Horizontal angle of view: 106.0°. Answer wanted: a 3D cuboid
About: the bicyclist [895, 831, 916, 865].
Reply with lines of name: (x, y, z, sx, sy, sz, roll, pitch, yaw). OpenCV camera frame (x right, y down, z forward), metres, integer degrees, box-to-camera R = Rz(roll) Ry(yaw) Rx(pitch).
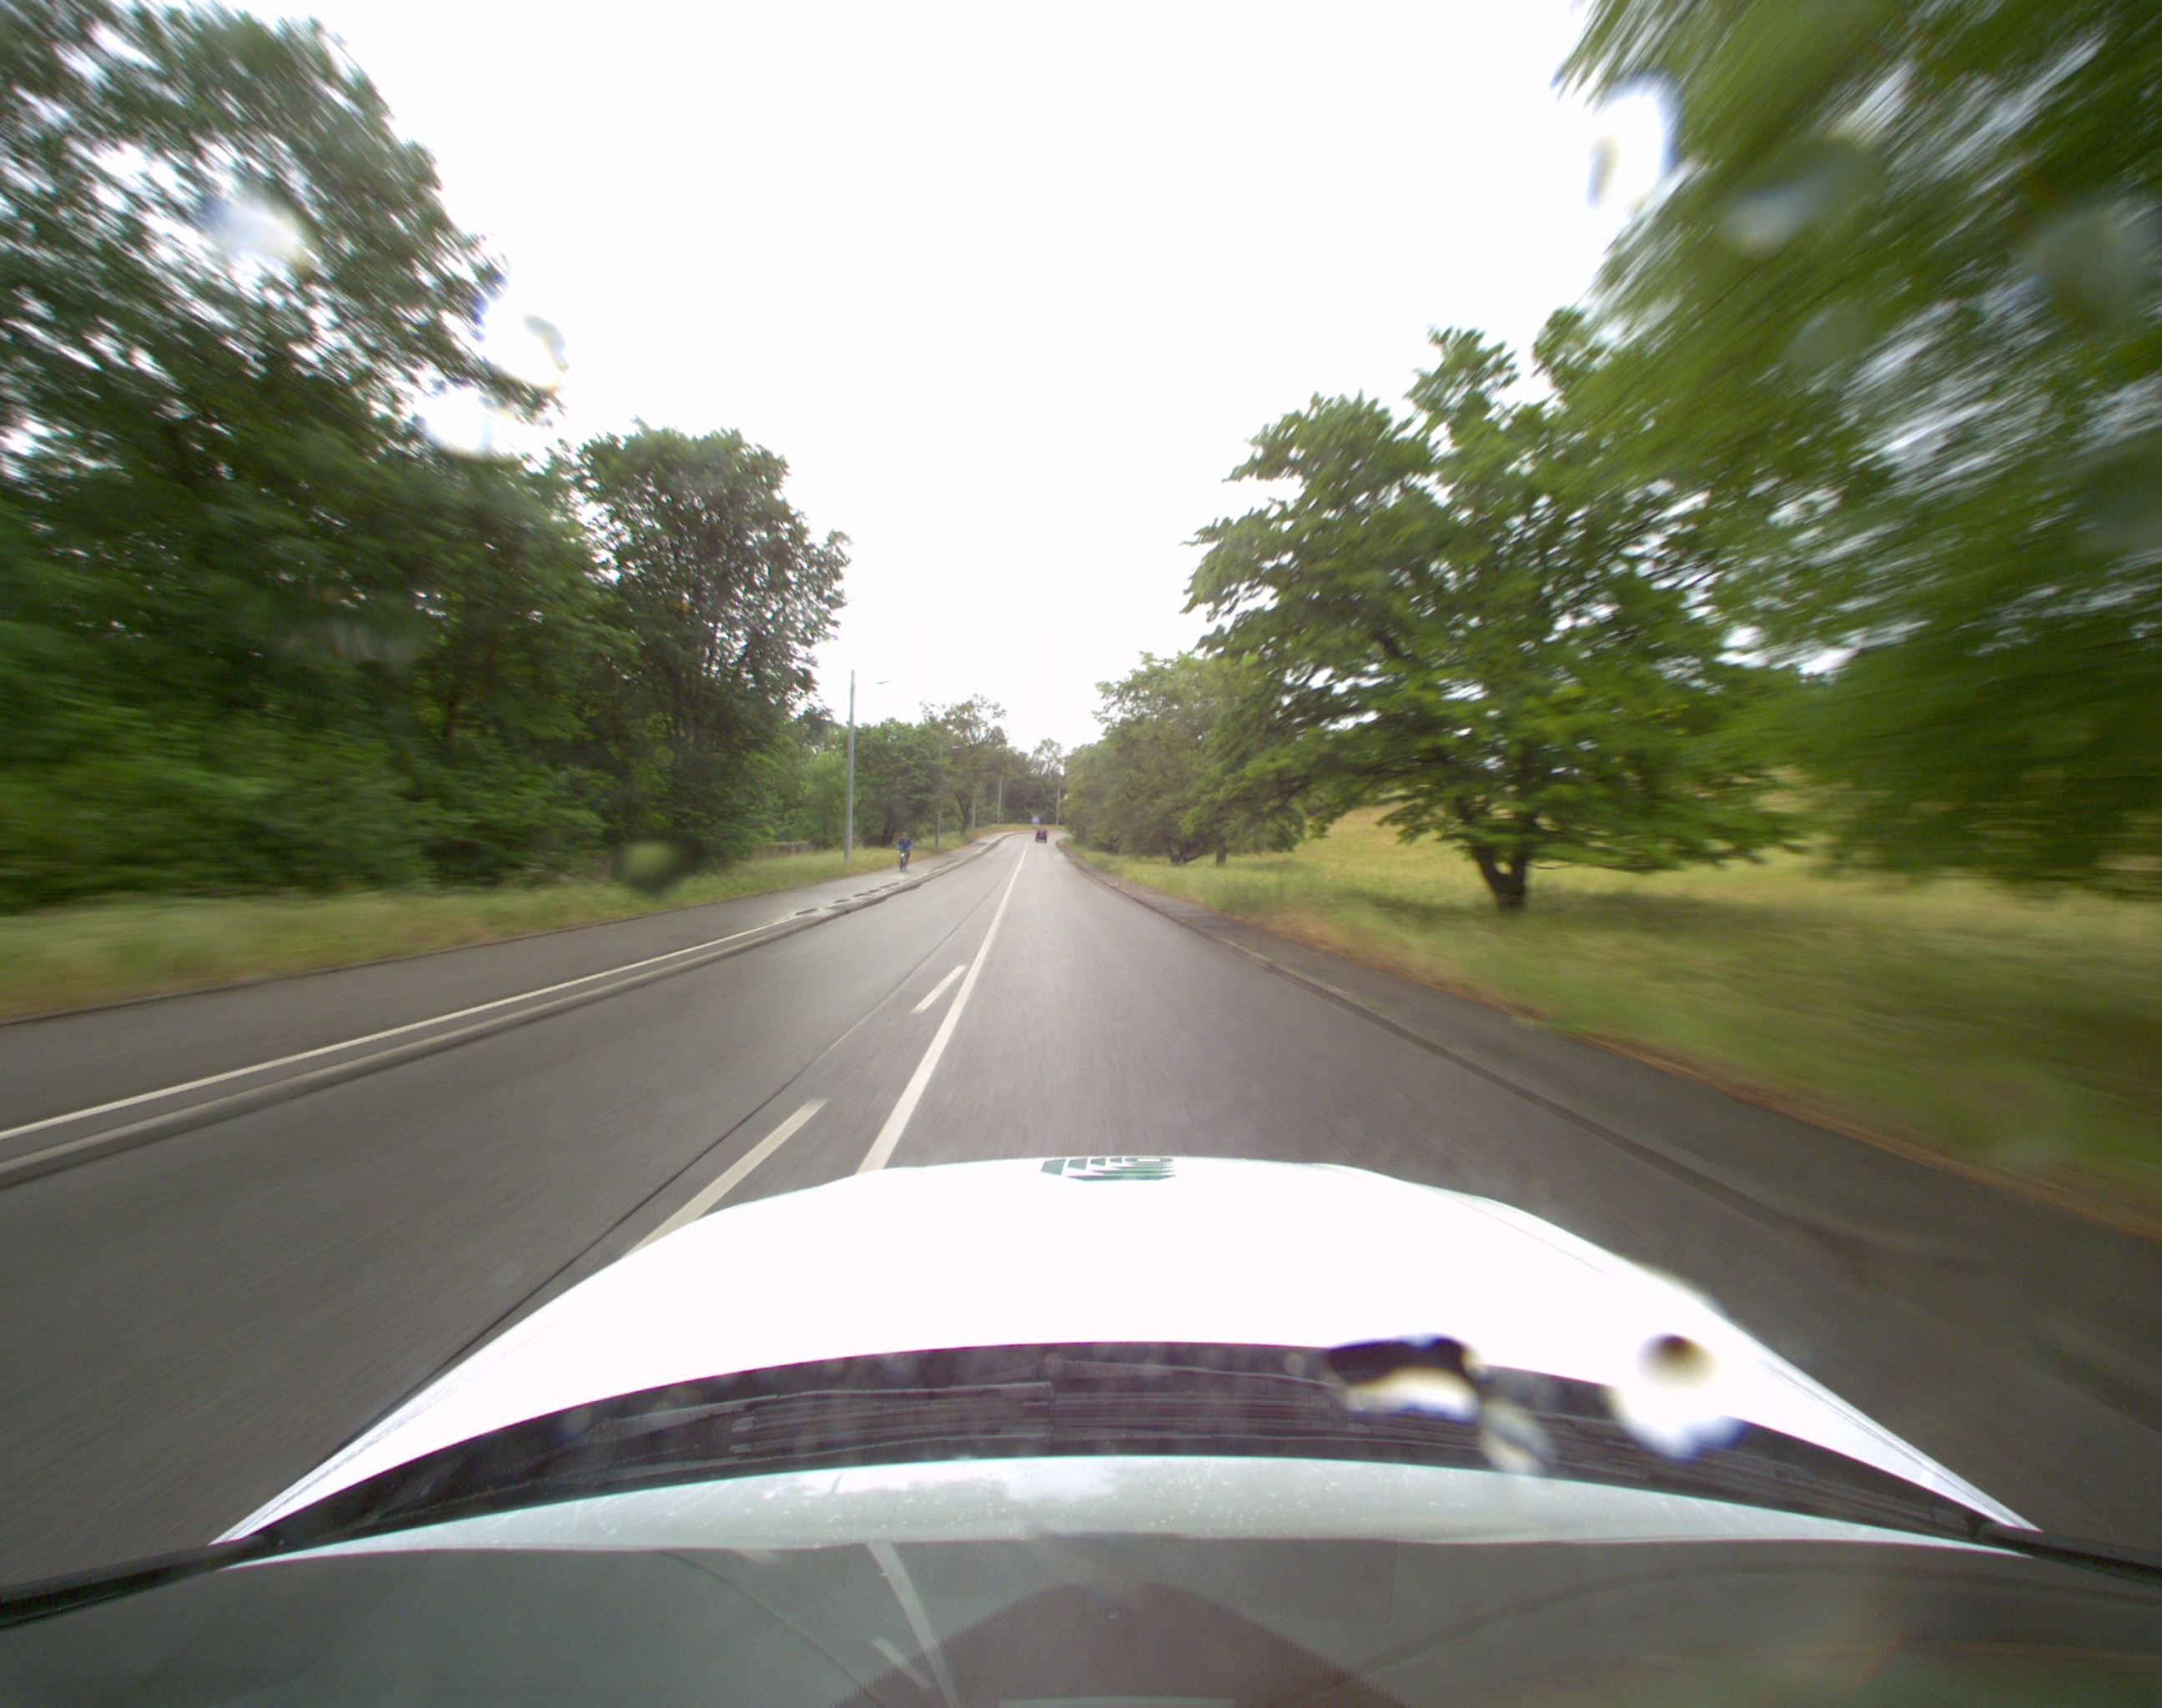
bicyclist: (-8.560, -0.294, 39.742, 0.707, 1.556, 1.169, 4, 1, -4)

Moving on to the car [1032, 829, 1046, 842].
car: (-6.066, -2.728, 118.819, 1.736, 1.716, 3.999, 3, 1, 0)

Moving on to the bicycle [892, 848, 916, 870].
bicycle: (-8.584, 0.246, 39.607, 0.722, 0.941, 2.547, 4, 1, -4)
